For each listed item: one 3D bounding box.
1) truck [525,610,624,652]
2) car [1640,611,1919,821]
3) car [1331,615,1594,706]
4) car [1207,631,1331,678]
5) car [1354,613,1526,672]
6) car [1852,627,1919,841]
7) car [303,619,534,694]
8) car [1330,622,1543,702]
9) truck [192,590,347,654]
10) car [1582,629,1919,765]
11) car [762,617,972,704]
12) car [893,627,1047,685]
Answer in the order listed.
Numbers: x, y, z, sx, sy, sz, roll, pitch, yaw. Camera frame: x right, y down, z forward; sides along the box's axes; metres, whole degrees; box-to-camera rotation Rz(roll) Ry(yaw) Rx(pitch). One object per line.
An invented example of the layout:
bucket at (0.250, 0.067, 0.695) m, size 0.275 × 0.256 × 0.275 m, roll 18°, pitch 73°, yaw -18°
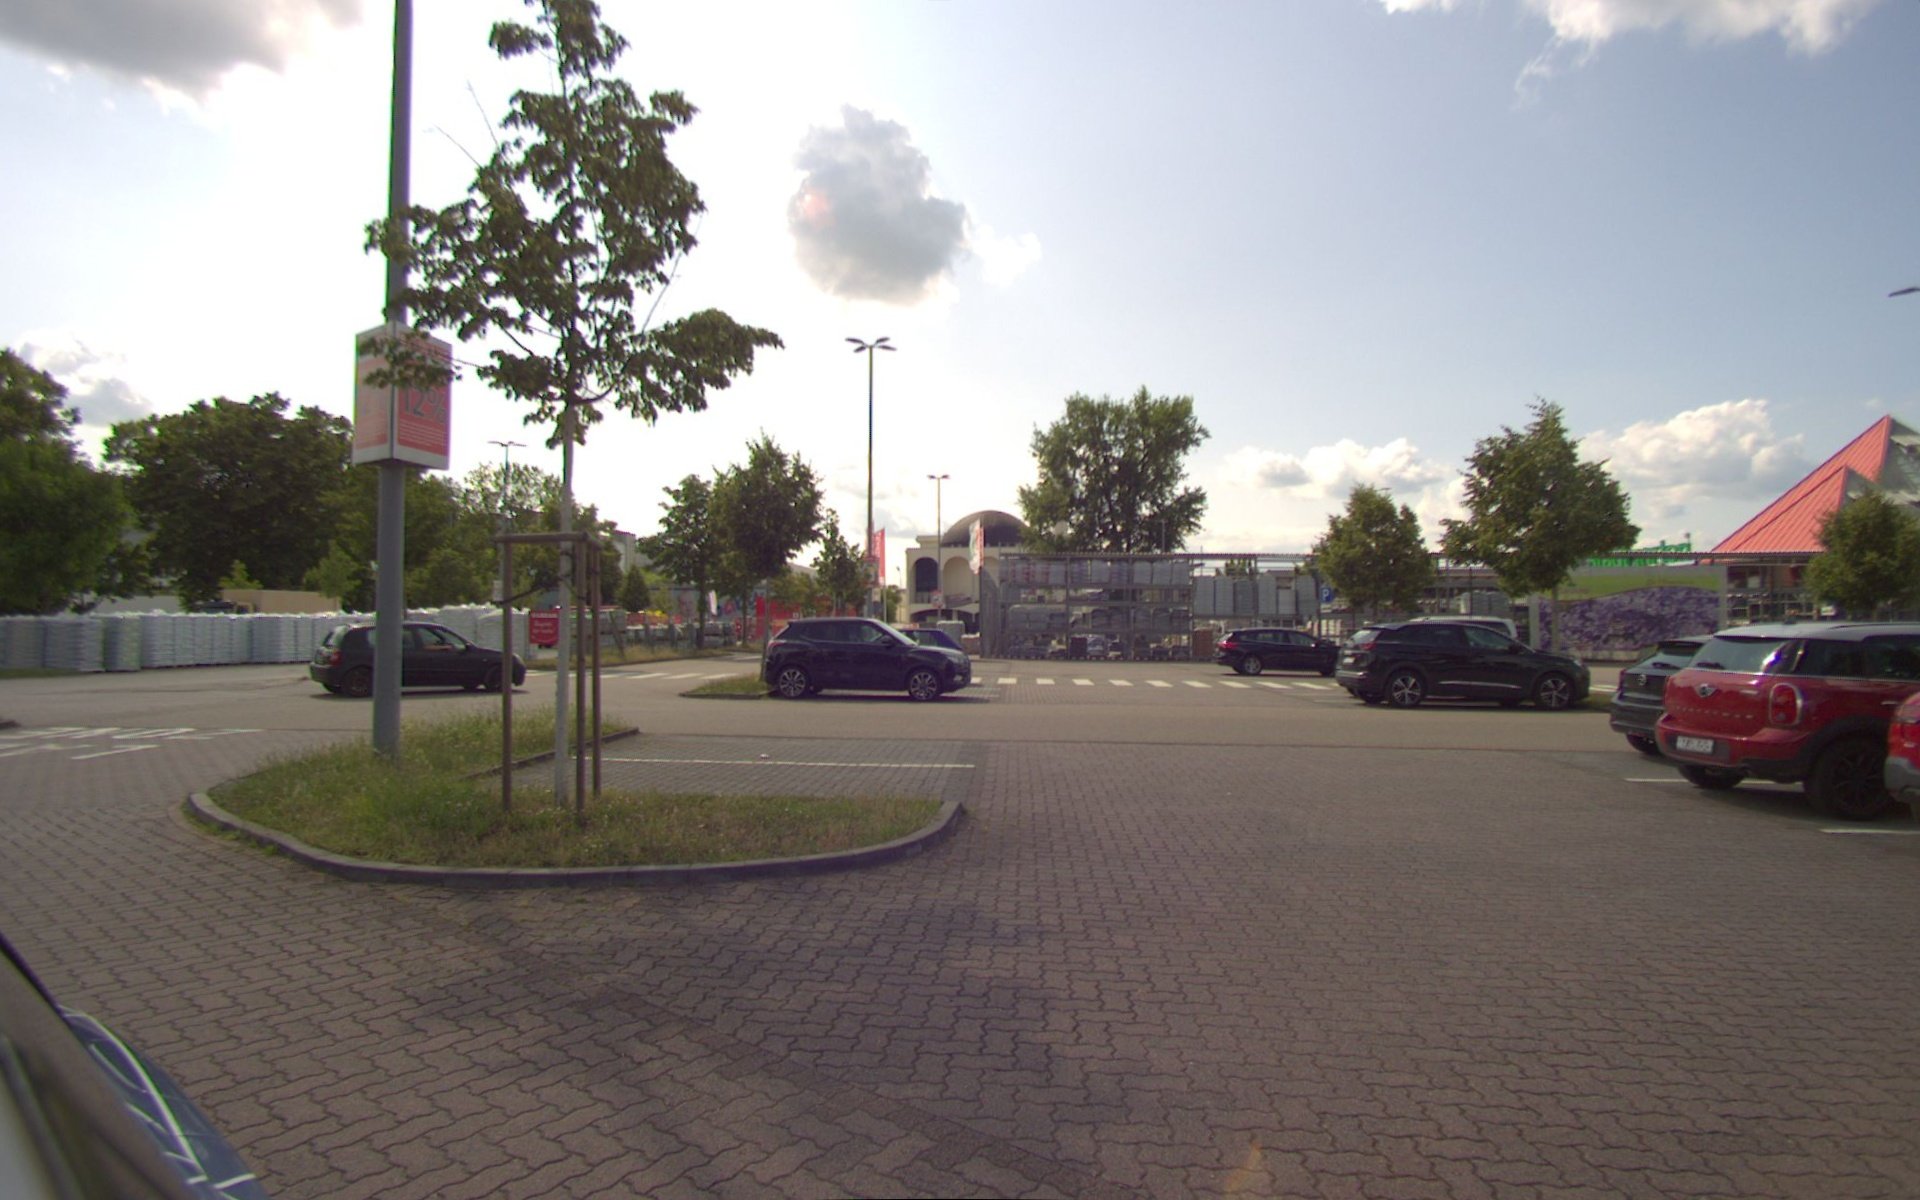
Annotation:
truck at (-24.012, 1.938, 63.203) m, size 5.371 × 2.534 × 2.115 m, roll 0°, pitch -2°, yaw 2°
car at (8.039, 0.902, 8.525) m, size 3.401 × 1.593 × 1.708 m, roll 0°, pitch -2°, yaw 2°
car at (9.383, 1.115, 19.137) m, size 4.029 × 1.637 × 1.783 m, roll 0°, pitch -2°, yaw 2°
car at (9.632, 1.685, 31.741) m, size 3.309 × 1.415 × 1.810 m, roll 0°, pitch -1°, yaw 1°
car at (17.014, 1.508, 36.113) m, size 5.121 × 2.029 × 1.997 m, roll 0°, pitch -2°, yaw 4°
car at (8.331, 0.872, 6.205) m, size 4.033 × 1.409 × 1.765 m, roll 0°, pitch -2°, yaw 2°
car at (-10.523, 1.056, 19.808) m, size 3.727 × 1.331 × 1.614 m, roll 1°, pitch -2°, yaw -41°
car at (10.049, 1.287, 21.547) m, size 3.654 × 1.637 × 1.784 m, roll 0°, pitch -2°, yaw -1°
truck at (-42.040, 1.414, 62.119) m, size 2.696 × 3.626 × 9.020 m, roll 0°, pitch -2°, yaw 5°
car at (9.338, 1.009, 11.155) m, size 3.832 × 1.379 × 1.728 m, roll 0°, pitch -2°, yaw 2°
car at (-1.783, 1.159, 20.153) m, size 3.915 × 1.637 × 1.732 m, roll 0°, pitch -2°, yaw 6°
car at (0.287, 1.371, 25.143) m, size 3.714 × 1.378 × 1.619 m, roll 0°, pitch -2°, yaw 4°
